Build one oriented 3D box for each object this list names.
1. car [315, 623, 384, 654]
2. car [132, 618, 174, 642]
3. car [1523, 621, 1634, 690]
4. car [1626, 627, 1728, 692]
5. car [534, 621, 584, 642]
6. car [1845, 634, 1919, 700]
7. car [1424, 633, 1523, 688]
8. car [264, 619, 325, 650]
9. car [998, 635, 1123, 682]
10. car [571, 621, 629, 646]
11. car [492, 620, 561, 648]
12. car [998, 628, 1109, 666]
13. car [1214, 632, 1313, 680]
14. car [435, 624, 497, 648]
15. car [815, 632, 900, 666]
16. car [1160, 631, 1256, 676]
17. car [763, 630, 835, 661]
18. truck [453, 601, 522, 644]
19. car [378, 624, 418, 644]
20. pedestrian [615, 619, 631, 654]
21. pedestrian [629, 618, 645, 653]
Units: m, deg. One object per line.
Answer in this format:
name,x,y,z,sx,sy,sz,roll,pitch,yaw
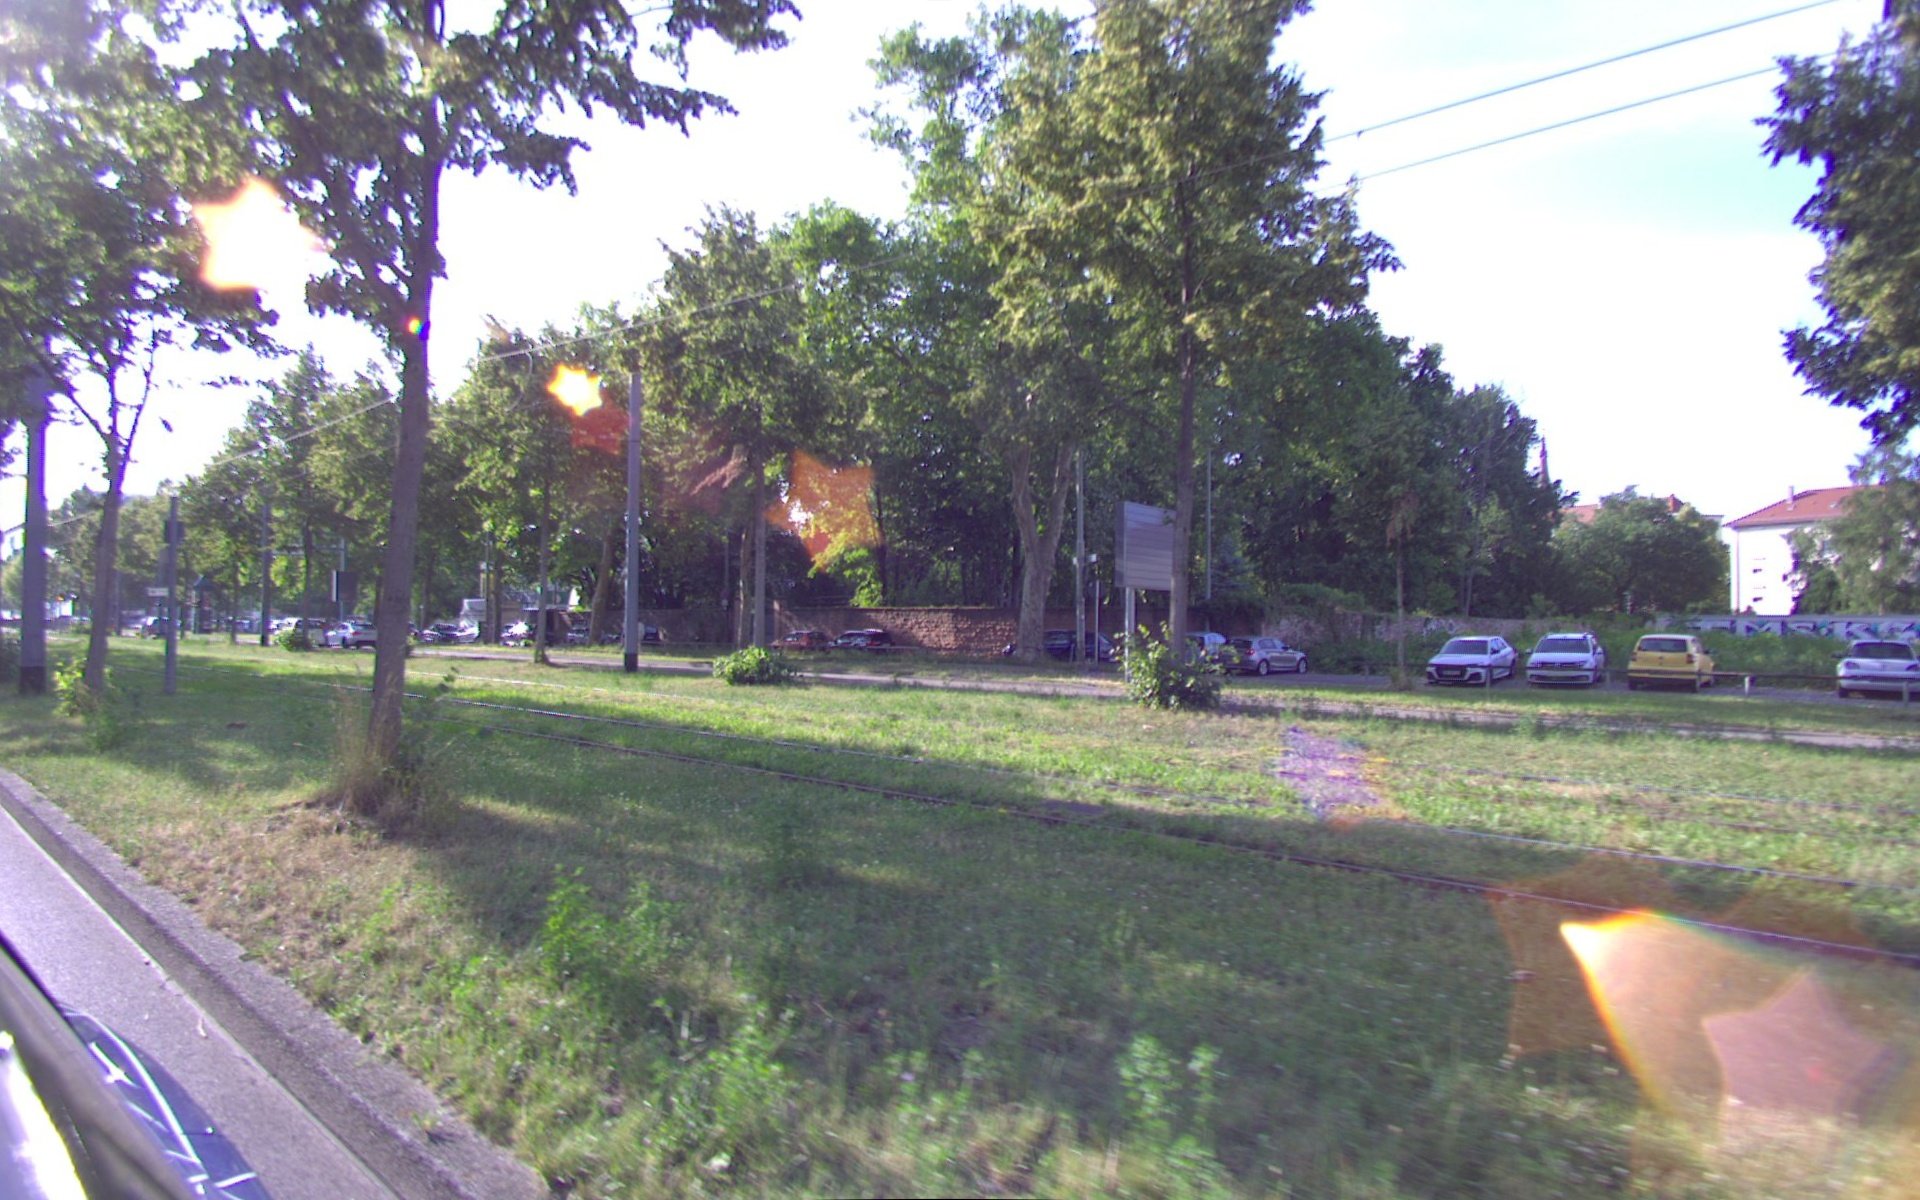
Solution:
car,-32.400,2.023,53.654,4.811,1.487,1.664,0,-4,41
car,-56.887,2.088,71.328,4.130,1.544,1.594,0,0,41
car,18.521,1.563,30.201,1.886,1.748,5.005,0,0,43
car,20.375,1.621,28.691,1.856,1.572,3.943,0,0,43
car,-28.847,2.268,72.734,4.387,1.386,1.678,0,0,45
car,23.609,1.654,25.659,1.725,1.436,3.530,0,0,41
car,15.986,1.826,31.435,1.809,1.439,3.607,0,0,43
car,-32.846,1.661,49.923,3.694,1.403,1.567,0,0,41
car,3.503,2.011,35.400,4.017,1.446,1.671,0,0,28
car,-24.782,2.283,69.604,4.473,1.624,1.811,0,0,42
car,-24.020,1.845,56.032,4.473,1.442,1.811,0,0,42
car,3.956,1.966,42.906,4.340,1.453,1.775,0,0,28
car,11.166,2.001,37.093,3.811,1.497,1.746,-1,0,-42
car,-29.744,2.145,60.912,4.899,1.253,1.658,0,0,42
car,-5.065,2.382,49.610,4.361,1.453,1.767,0,0,43
car,9.574,2.028,38.970,3.811,1.497,1.746,-1,0,-42
car,-8.518,2.379,53.452,3.912,1.453,1.699,0,0,43
truck,-40.340,1.847,86.221,2.855,3.542,7.949,-1,0,-44
car,-39.617,2.394,71.354,1.564,1.286,3.964,-1,0,-43
pedestrian,-14.562,1.575,43.774,0.601,1.487,0.382,0,0,40
pedestrian,-14.126,1.555,44.267,0.601,1.487,0.382,0,0,40
